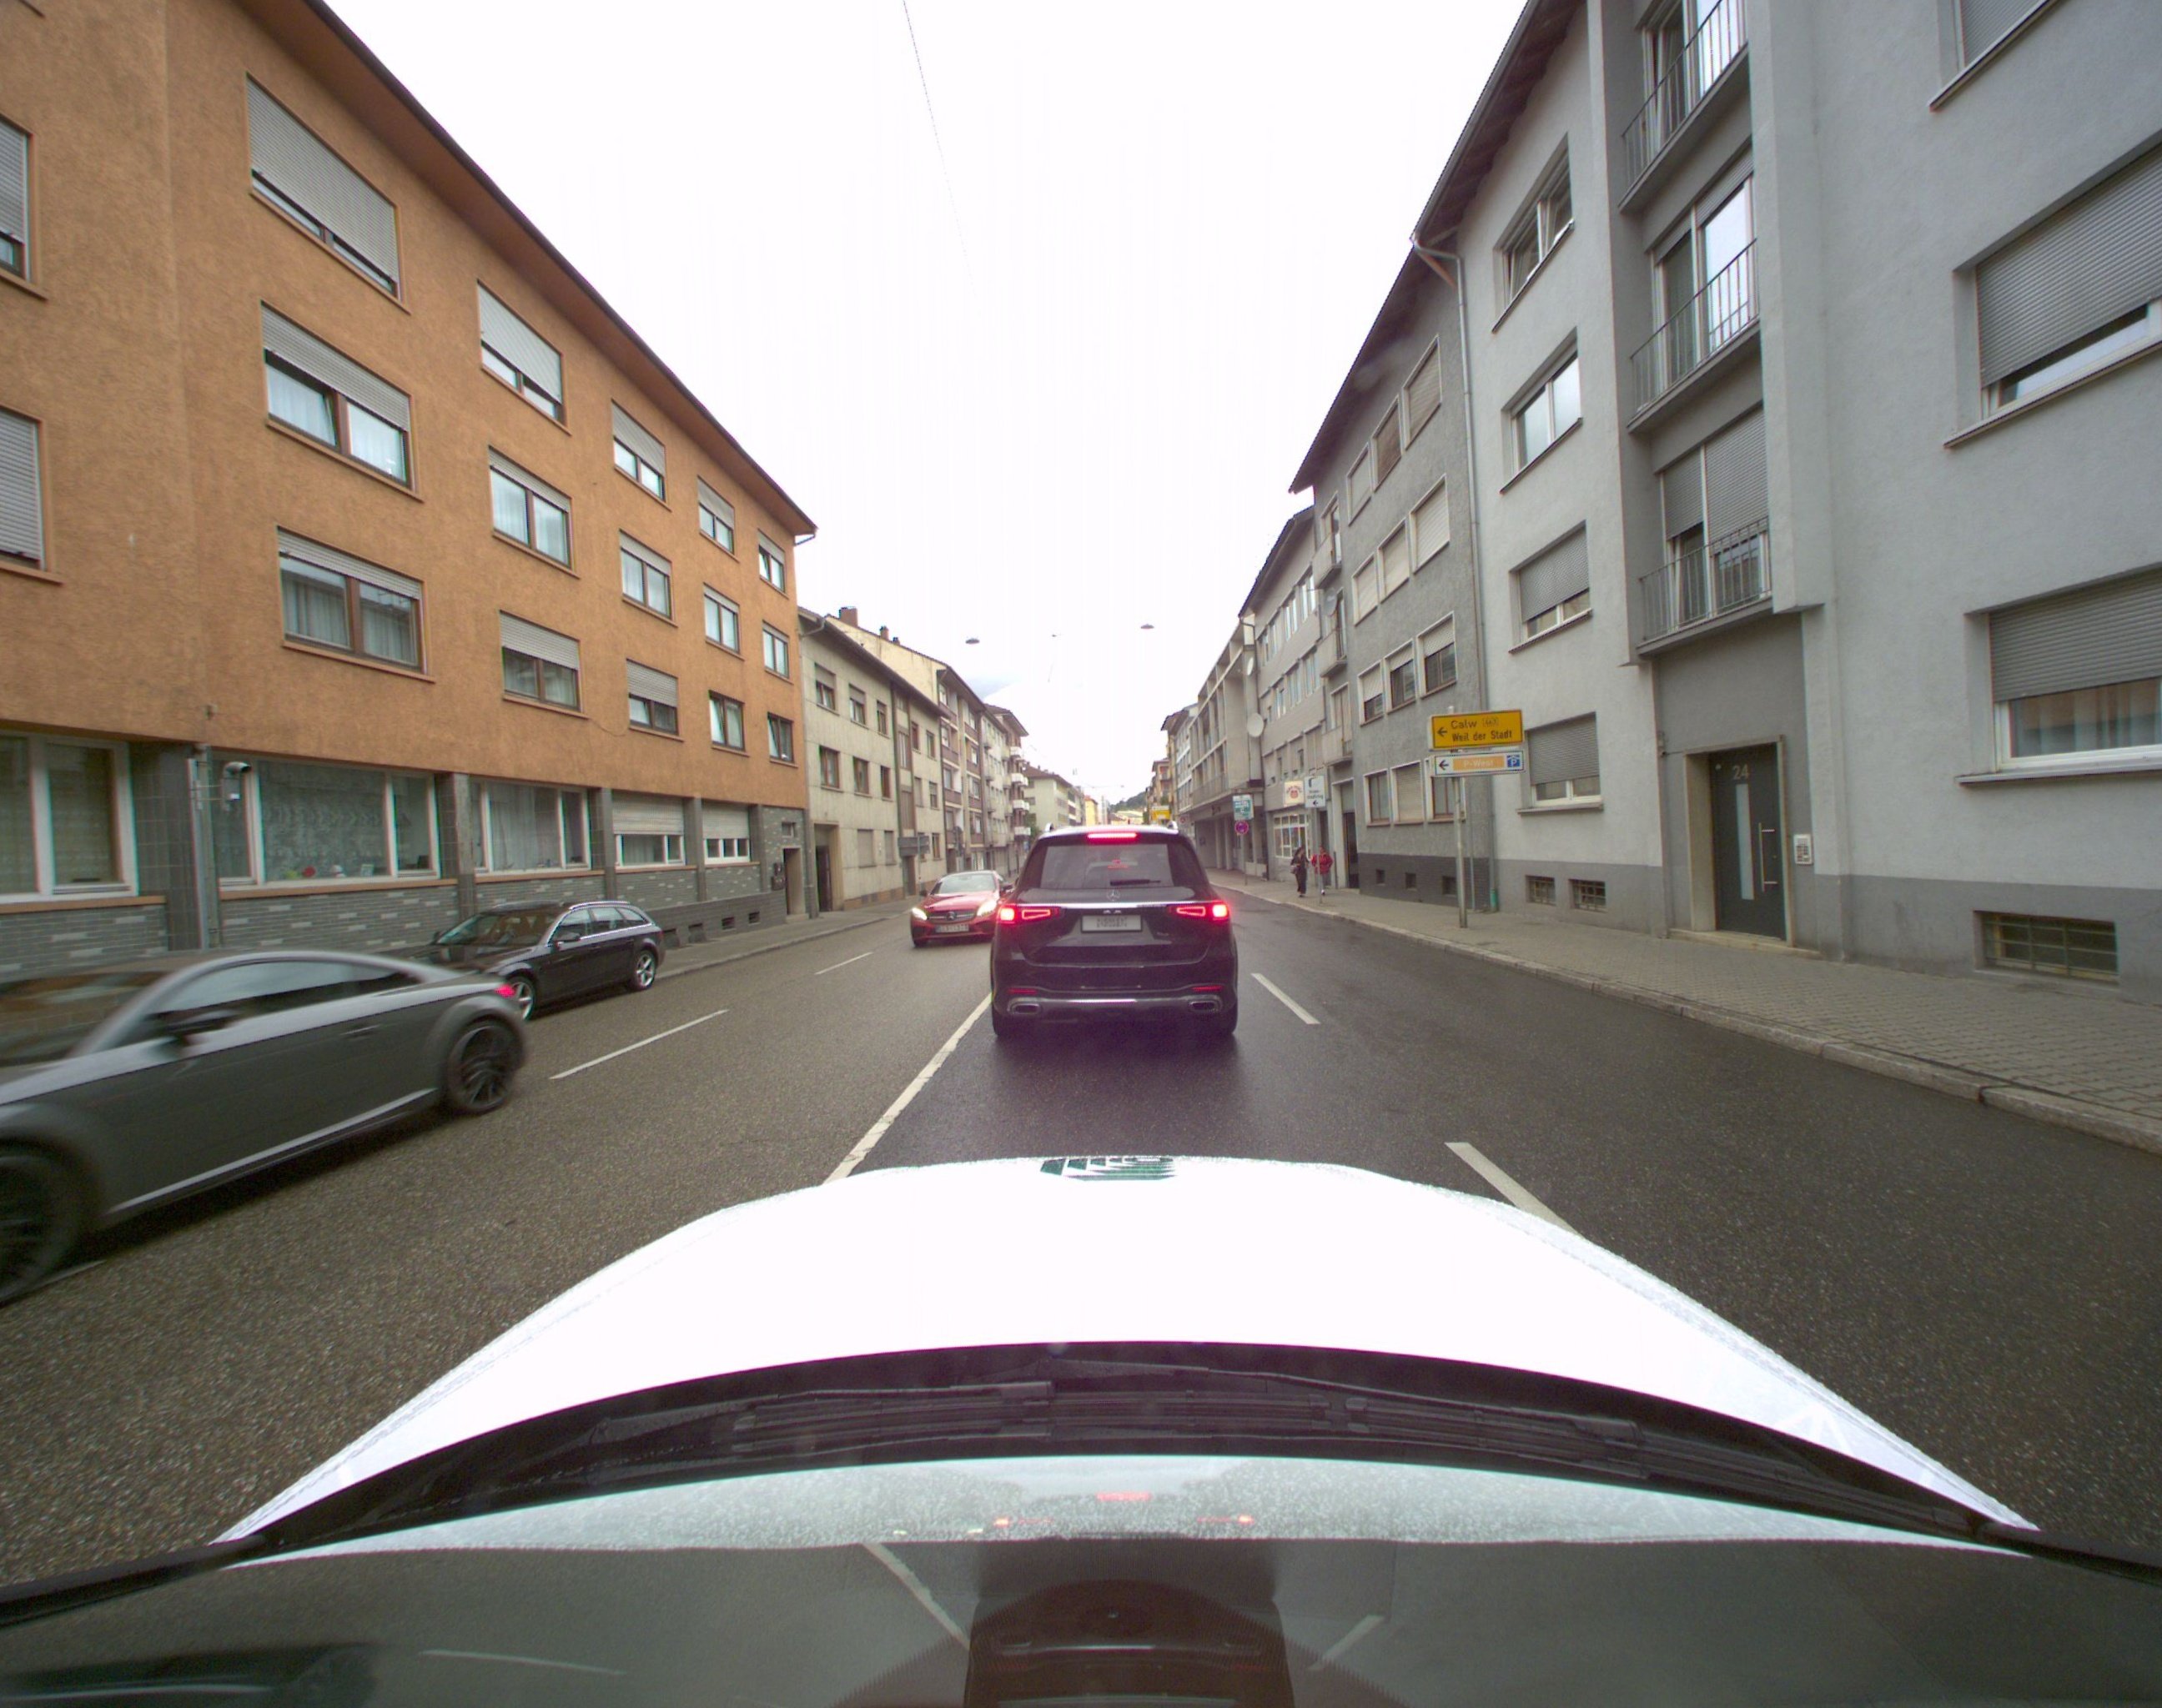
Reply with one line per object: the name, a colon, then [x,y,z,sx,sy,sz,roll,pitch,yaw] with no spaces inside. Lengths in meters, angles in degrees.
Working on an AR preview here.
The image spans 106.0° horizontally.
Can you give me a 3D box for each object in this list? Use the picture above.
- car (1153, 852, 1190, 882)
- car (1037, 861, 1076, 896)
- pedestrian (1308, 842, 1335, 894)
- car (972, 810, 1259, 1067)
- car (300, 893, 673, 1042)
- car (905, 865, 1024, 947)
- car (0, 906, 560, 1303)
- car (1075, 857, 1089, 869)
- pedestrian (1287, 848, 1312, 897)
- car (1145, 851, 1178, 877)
car: [5.117,0.696,46.449,1.760,1.580,4.002,-2,0,2]
car: [-1.254,1.271,43.916,1.727,1.575,4.012,-6,0,1]
pedestrian: [7.636,0.445,25.890,0.558,1.578,0.526,-5,0,1]
car: [0.290,0.599,7.757,2.018,1.806,4.001,0,0,1]
car: [-7.746,1.370,11.323,1.789,1.438,4.528,0,0,1]
car: [-2.359,1.016,17.589,1.718,1.390,4.341,-4,0,2]
car: [-5.084,1.168,4.418,1.760,1.346,3.891,-6,0,2]
car: [0.188,1.109,106.083,1.642,1.439,4.127,-4,0,2]
pedestrian: [6.922,0.586,25.830,0.504,1.500,0.562,-5,0,1]
car: [5.789,0.700,58.768,1.934,1.775,4.746,-1,0,0]
